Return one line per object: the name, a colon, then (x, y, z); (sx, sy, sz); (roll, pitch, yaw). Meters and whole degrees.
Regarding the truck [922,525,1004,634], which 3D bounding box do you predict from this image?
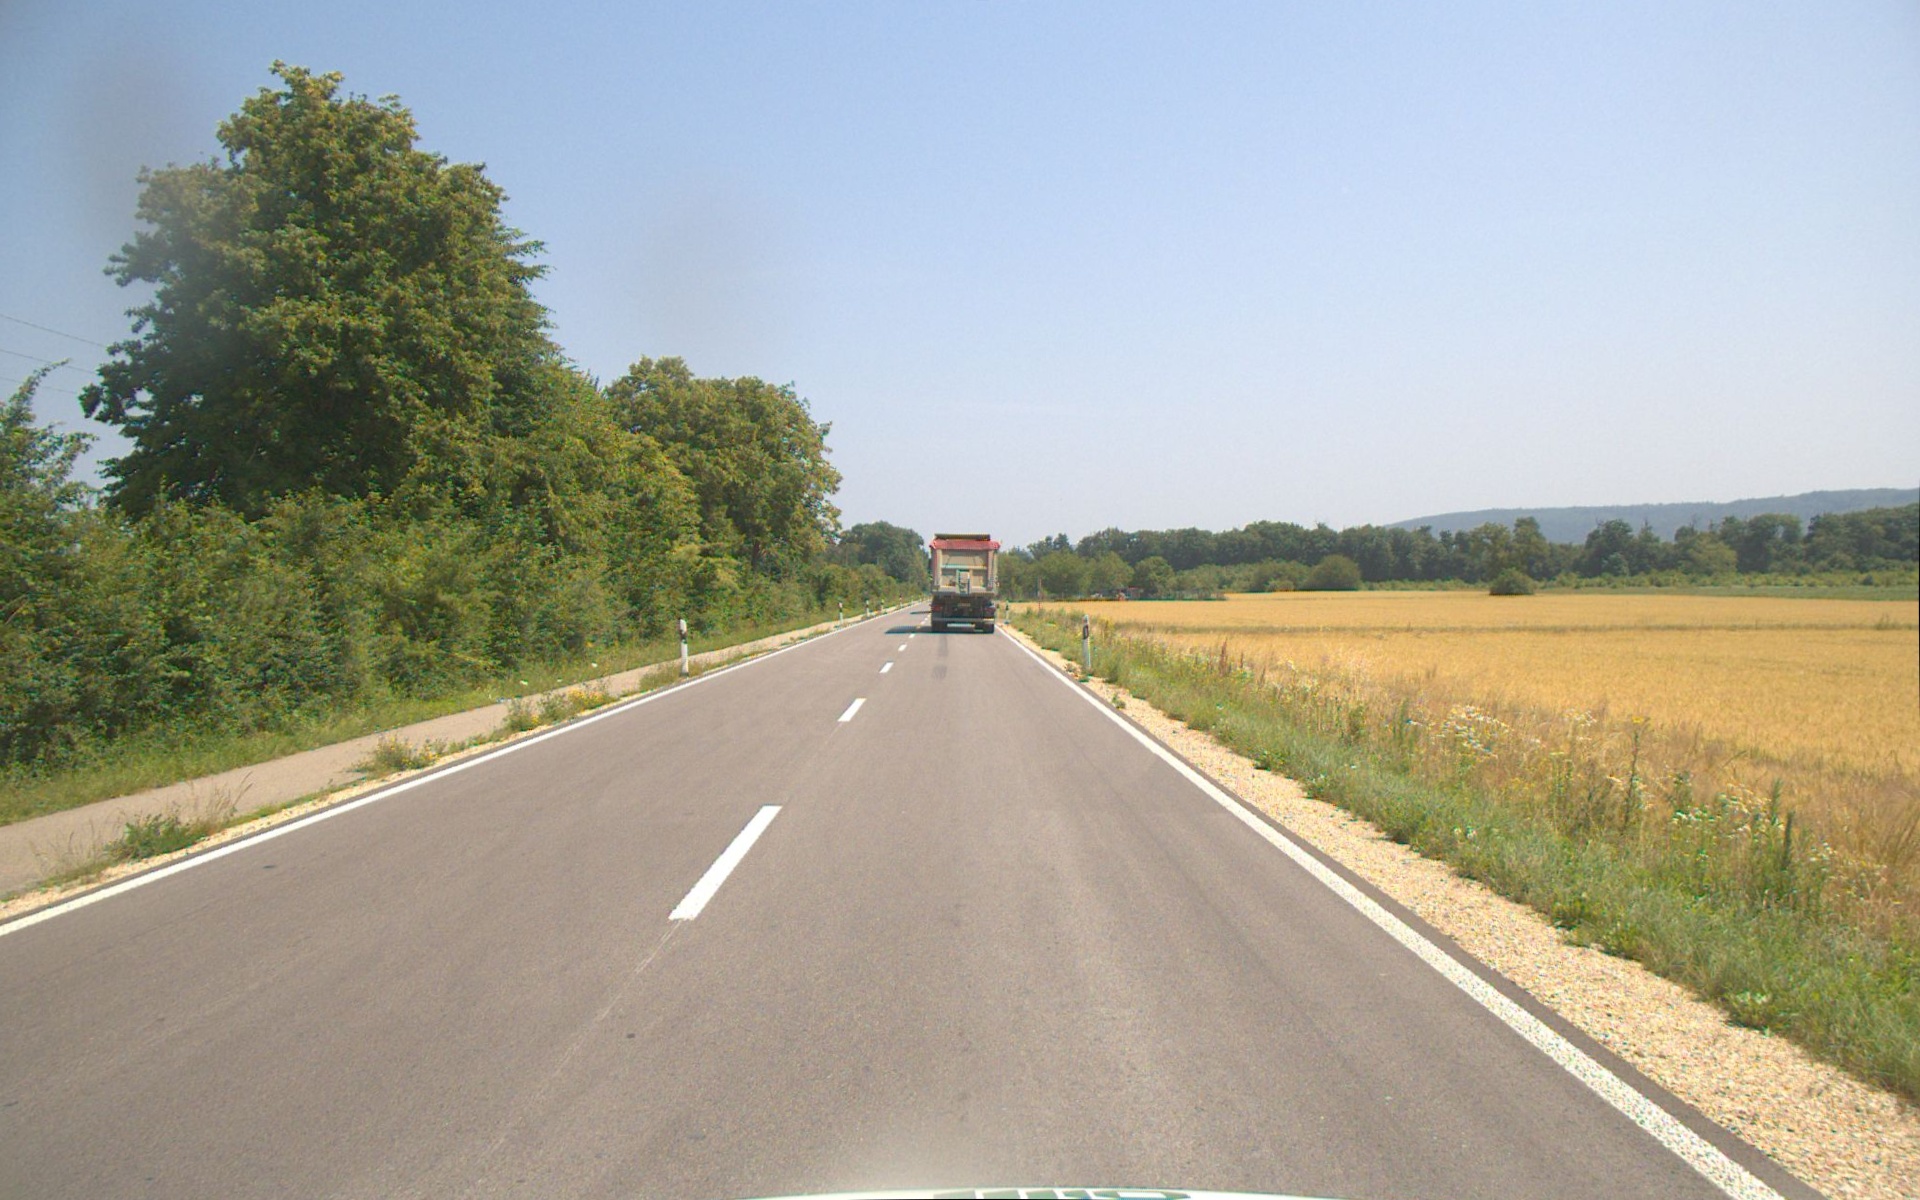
truck: (0.070, -0.742, 67.224); (2.948, 3.942, 12.207); (1, 0, 0)
